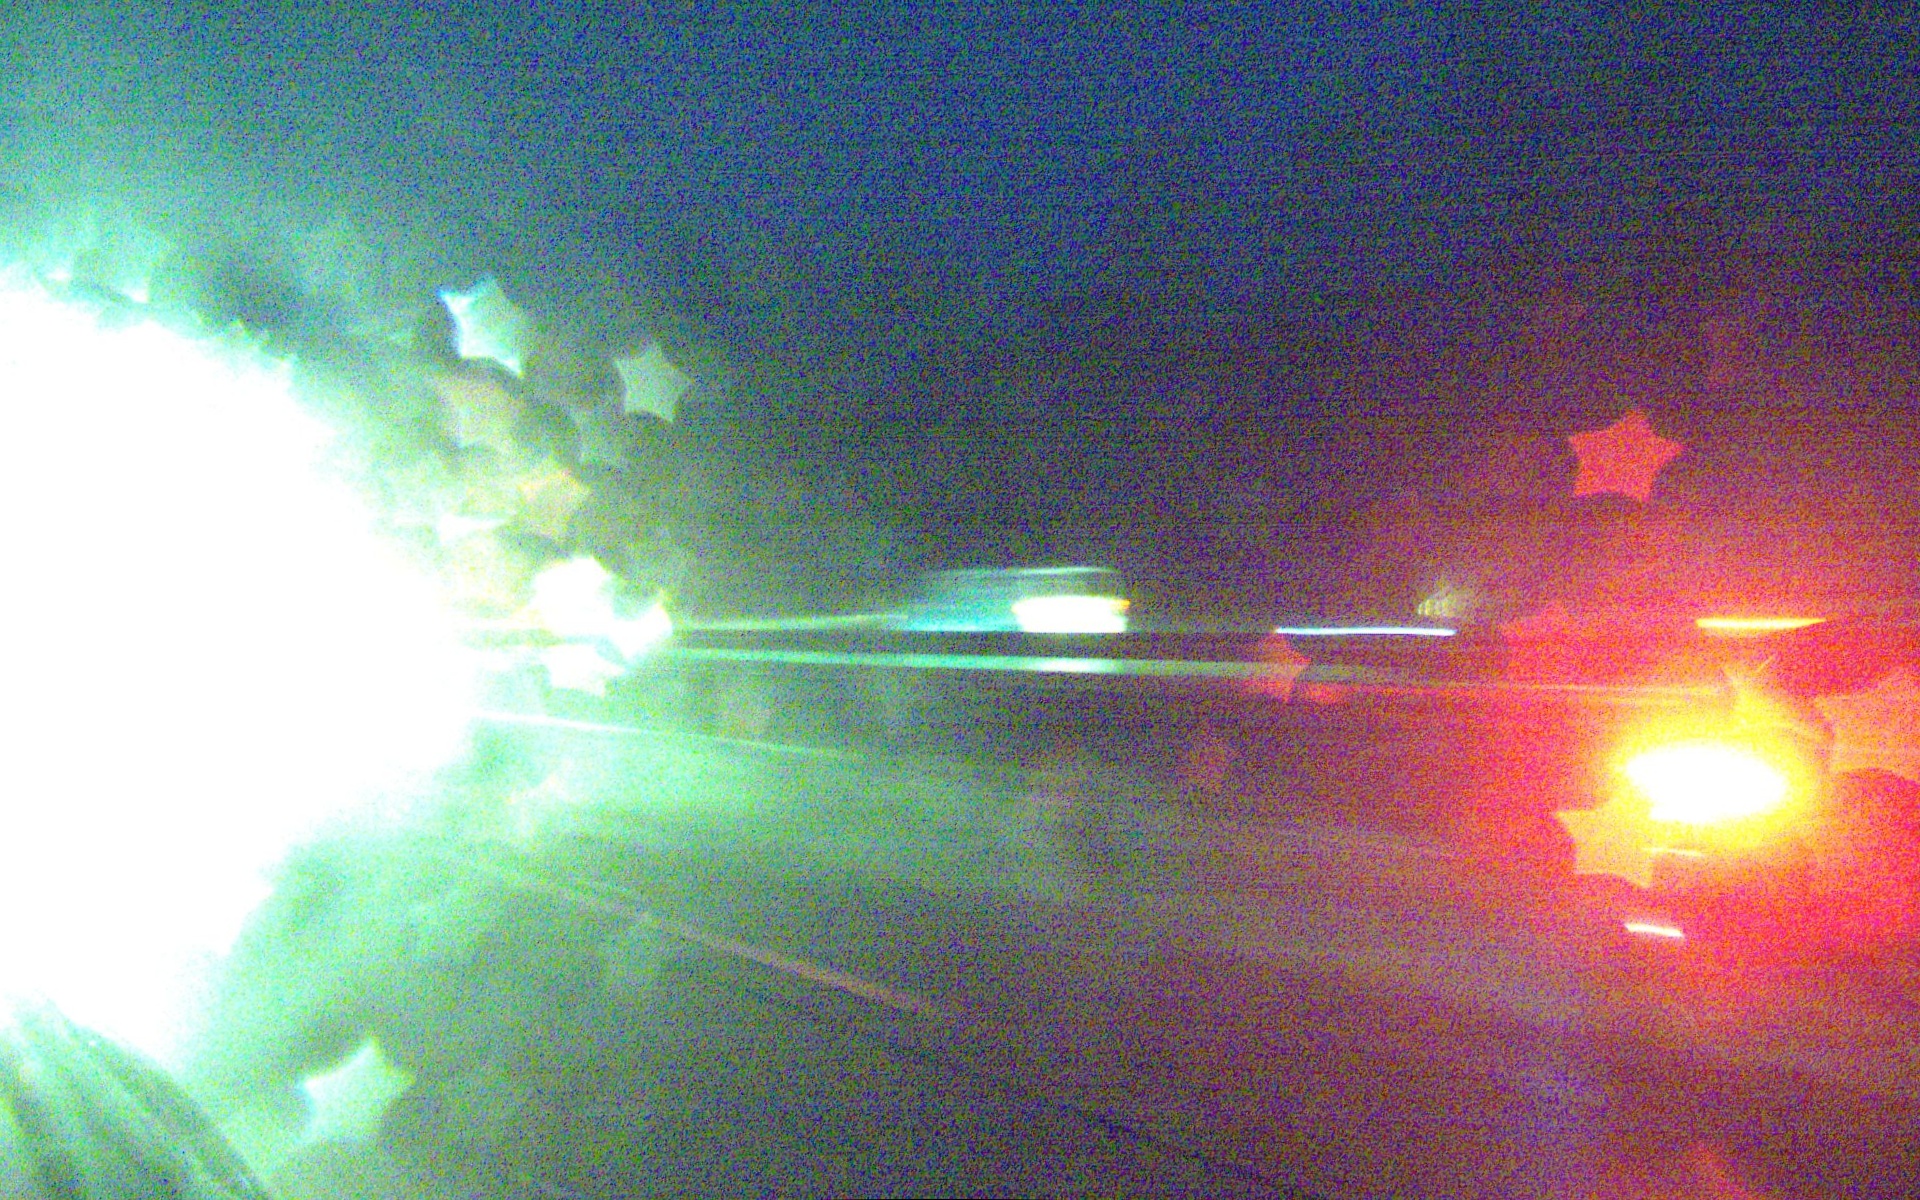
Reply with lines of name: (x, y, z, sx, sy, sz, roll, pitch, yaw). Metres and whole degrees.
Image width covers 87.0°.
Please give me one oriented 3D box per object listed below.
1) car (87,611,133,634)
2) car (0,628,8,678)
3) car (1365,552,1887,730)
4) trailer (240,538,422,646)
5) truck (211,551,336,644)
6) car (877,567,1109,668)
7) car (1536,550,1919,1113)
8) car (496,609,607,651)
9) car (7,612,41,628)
car: (-58.343, 1.521, 69.457, 3.714, 1.507, 1.689, -1, 0, 39)
car: (-32.305, 1.742, 32.829, 3.846, 1.587, 1.633, -2, -3, 40)
car: (6.792, 0.368, 10.729, 4.301, 1.520, 1.864, -1, 0, 38)
trailer: (-27.891, -0.218, 44.511, 11.711, 4.205, 3.321, -1, -1, 40)
truck: (-33.381, -0.060, 49.134, 6.458, 4.205, 3.331, -1, 0, 40)
car: (0.603, 0.350, 21.618, 4.839, 1.924, 1.872, -1, 0, 40)
car: (4.347, 0.592, 2.442, 4.910, 1.528, 1.750, -2, -1, 40)
car: (-14.639, 1.069, 36.189, 4.161, 1.405, 1.821, -1, -1, 38)
car: (-92.285, 1.929, 99.761, 3.996, 1.507, 1.974, -1, 0, 39)
